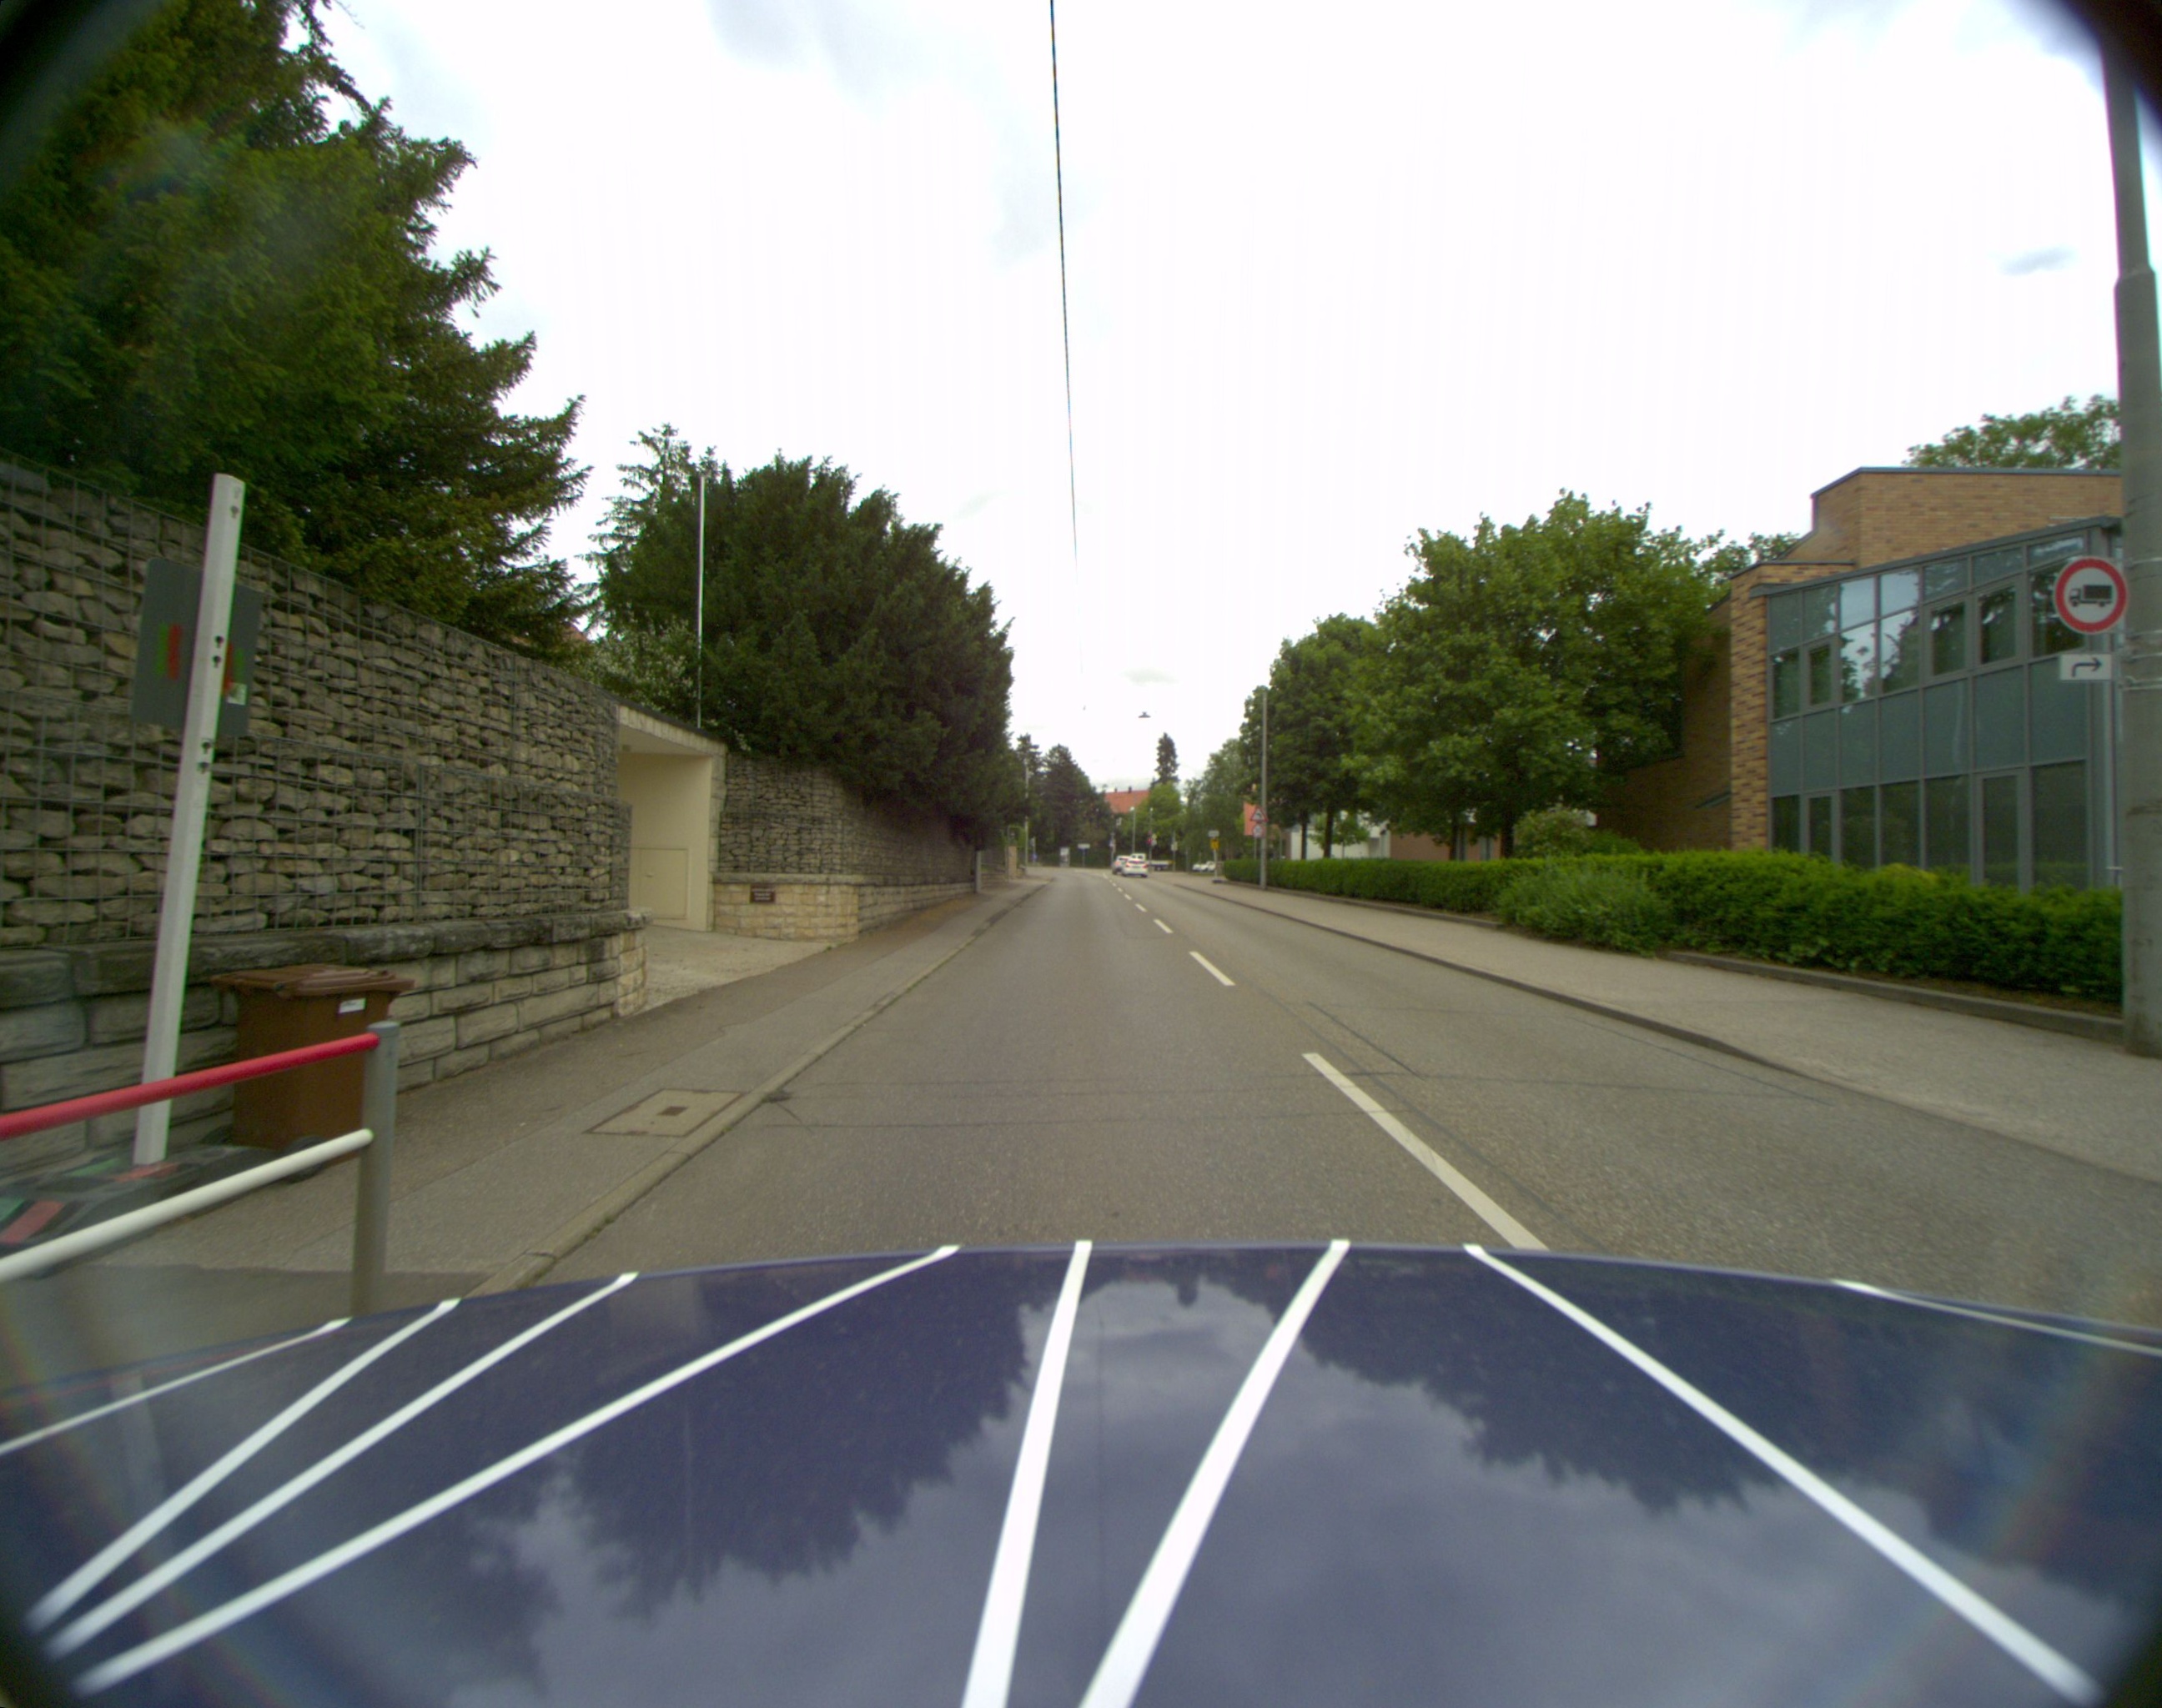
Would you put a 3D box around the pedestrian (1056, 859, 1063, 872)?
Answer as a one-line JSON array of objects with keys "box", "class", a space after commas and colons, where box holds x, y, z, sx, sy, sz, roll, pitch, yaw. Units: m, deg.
[{"box": [-2.869, 1.534, 101.727, 0.611, 1.824, 0.605, 3, 0, 27], "class": "pedestrian"}]

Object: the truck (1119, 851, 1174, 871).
[{"box": [8.424, 0.867, 97.300, 6.706, 2.176, 2.532, 2, 1, 11], "class": "truck"}]

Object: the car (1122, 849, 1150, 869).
[{"box": [4.243, 0.334, 58.820, 1.771, 1.413, 4.065, 3, 0, 0], "class": "car"}]

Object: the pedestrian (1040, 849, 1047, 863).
[{"box": [-5.024, 0.259, 102.390, 0.665, 1.777, 0.614, 3, 0, 29], "class": "pedestrian"}]

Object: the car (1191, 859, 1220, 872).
[{"box": [16.309, 1.518, 99.779, 1.994, 1.603, 4.010, 2, 0, 38], "class": "car"}]

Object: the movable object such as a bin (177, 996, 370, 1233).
[{"box": [-3.682, 1.160, 3.483, 0.446, 0.904, 0.394, 4, 1, 9], "class": "movable object such as a bin"}]

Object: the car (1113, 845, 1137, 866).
[{"box": [3.751, 0.106, 65.692, 1.773, 1.628, 4.301, 4, 0, 0], "class": "car"}]
